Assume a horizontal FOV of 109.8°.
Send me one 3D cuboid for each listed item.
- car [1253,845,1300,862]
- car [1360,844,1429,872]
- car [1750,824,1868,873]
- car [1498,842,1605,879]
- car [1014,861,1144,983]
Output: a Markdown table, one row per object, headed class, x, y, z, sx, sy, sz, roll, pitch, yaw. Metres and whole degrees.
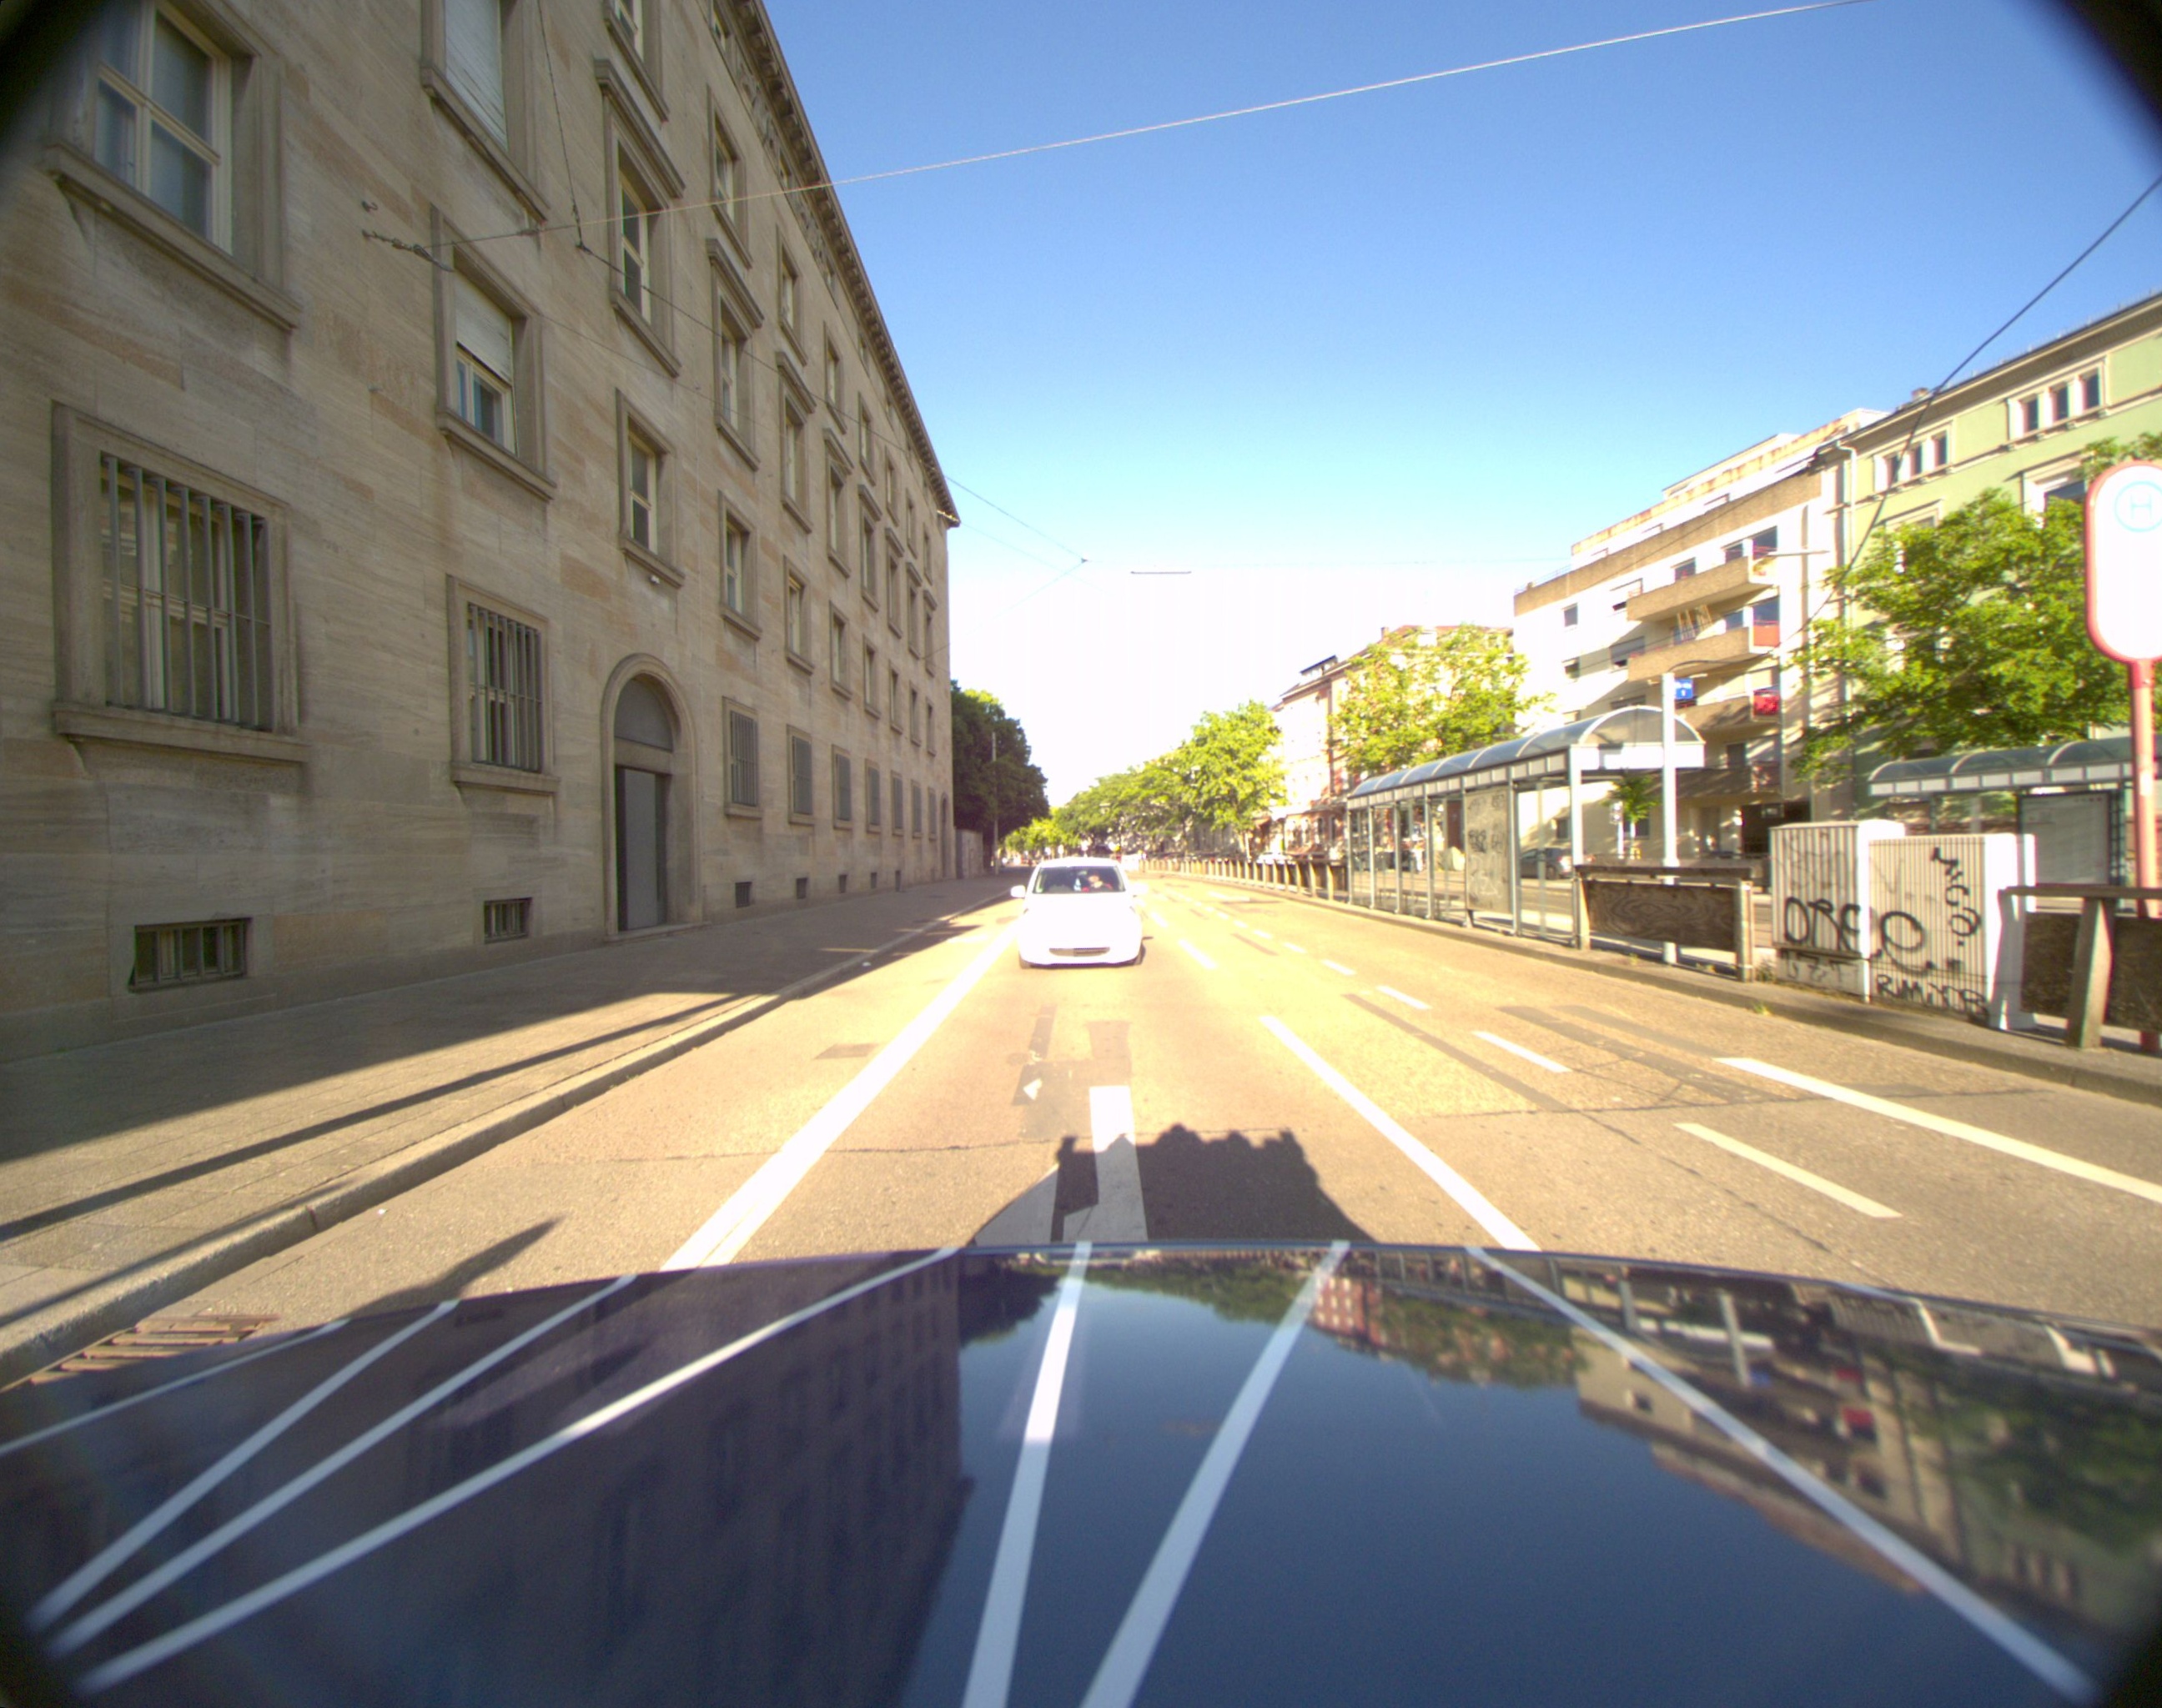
| class | x | y | z | sx | sy | sz | roll | pitch | yaw |
| --- | --- | --- | --- | --- | --- | --- | --- | --- | --- |
| car | 16.255 | -0.064 | 63.218 | 3.648 | 1.342 | 1.578 | -2 | 1 | -29 |
| car | 18.394 | 0.223 | 44.740 | 2.000 | 1.521 | 3.997 | -1 | 0 | -8 |
| car | 31.455 | -0.250 | 32.857 | 4.001 | 2.002 | 1.798 | -1 | 1 | -13 |
| car | 21.049 | 0.283 | 34.172 | 2.000 | 1.521 | 3.997 | -1 | 0 | -8 |
| car | -0.001 | 0.871 | 11.395 | 1.606 | 1.455 | 3.621 | -1 | 0 | 1 |
